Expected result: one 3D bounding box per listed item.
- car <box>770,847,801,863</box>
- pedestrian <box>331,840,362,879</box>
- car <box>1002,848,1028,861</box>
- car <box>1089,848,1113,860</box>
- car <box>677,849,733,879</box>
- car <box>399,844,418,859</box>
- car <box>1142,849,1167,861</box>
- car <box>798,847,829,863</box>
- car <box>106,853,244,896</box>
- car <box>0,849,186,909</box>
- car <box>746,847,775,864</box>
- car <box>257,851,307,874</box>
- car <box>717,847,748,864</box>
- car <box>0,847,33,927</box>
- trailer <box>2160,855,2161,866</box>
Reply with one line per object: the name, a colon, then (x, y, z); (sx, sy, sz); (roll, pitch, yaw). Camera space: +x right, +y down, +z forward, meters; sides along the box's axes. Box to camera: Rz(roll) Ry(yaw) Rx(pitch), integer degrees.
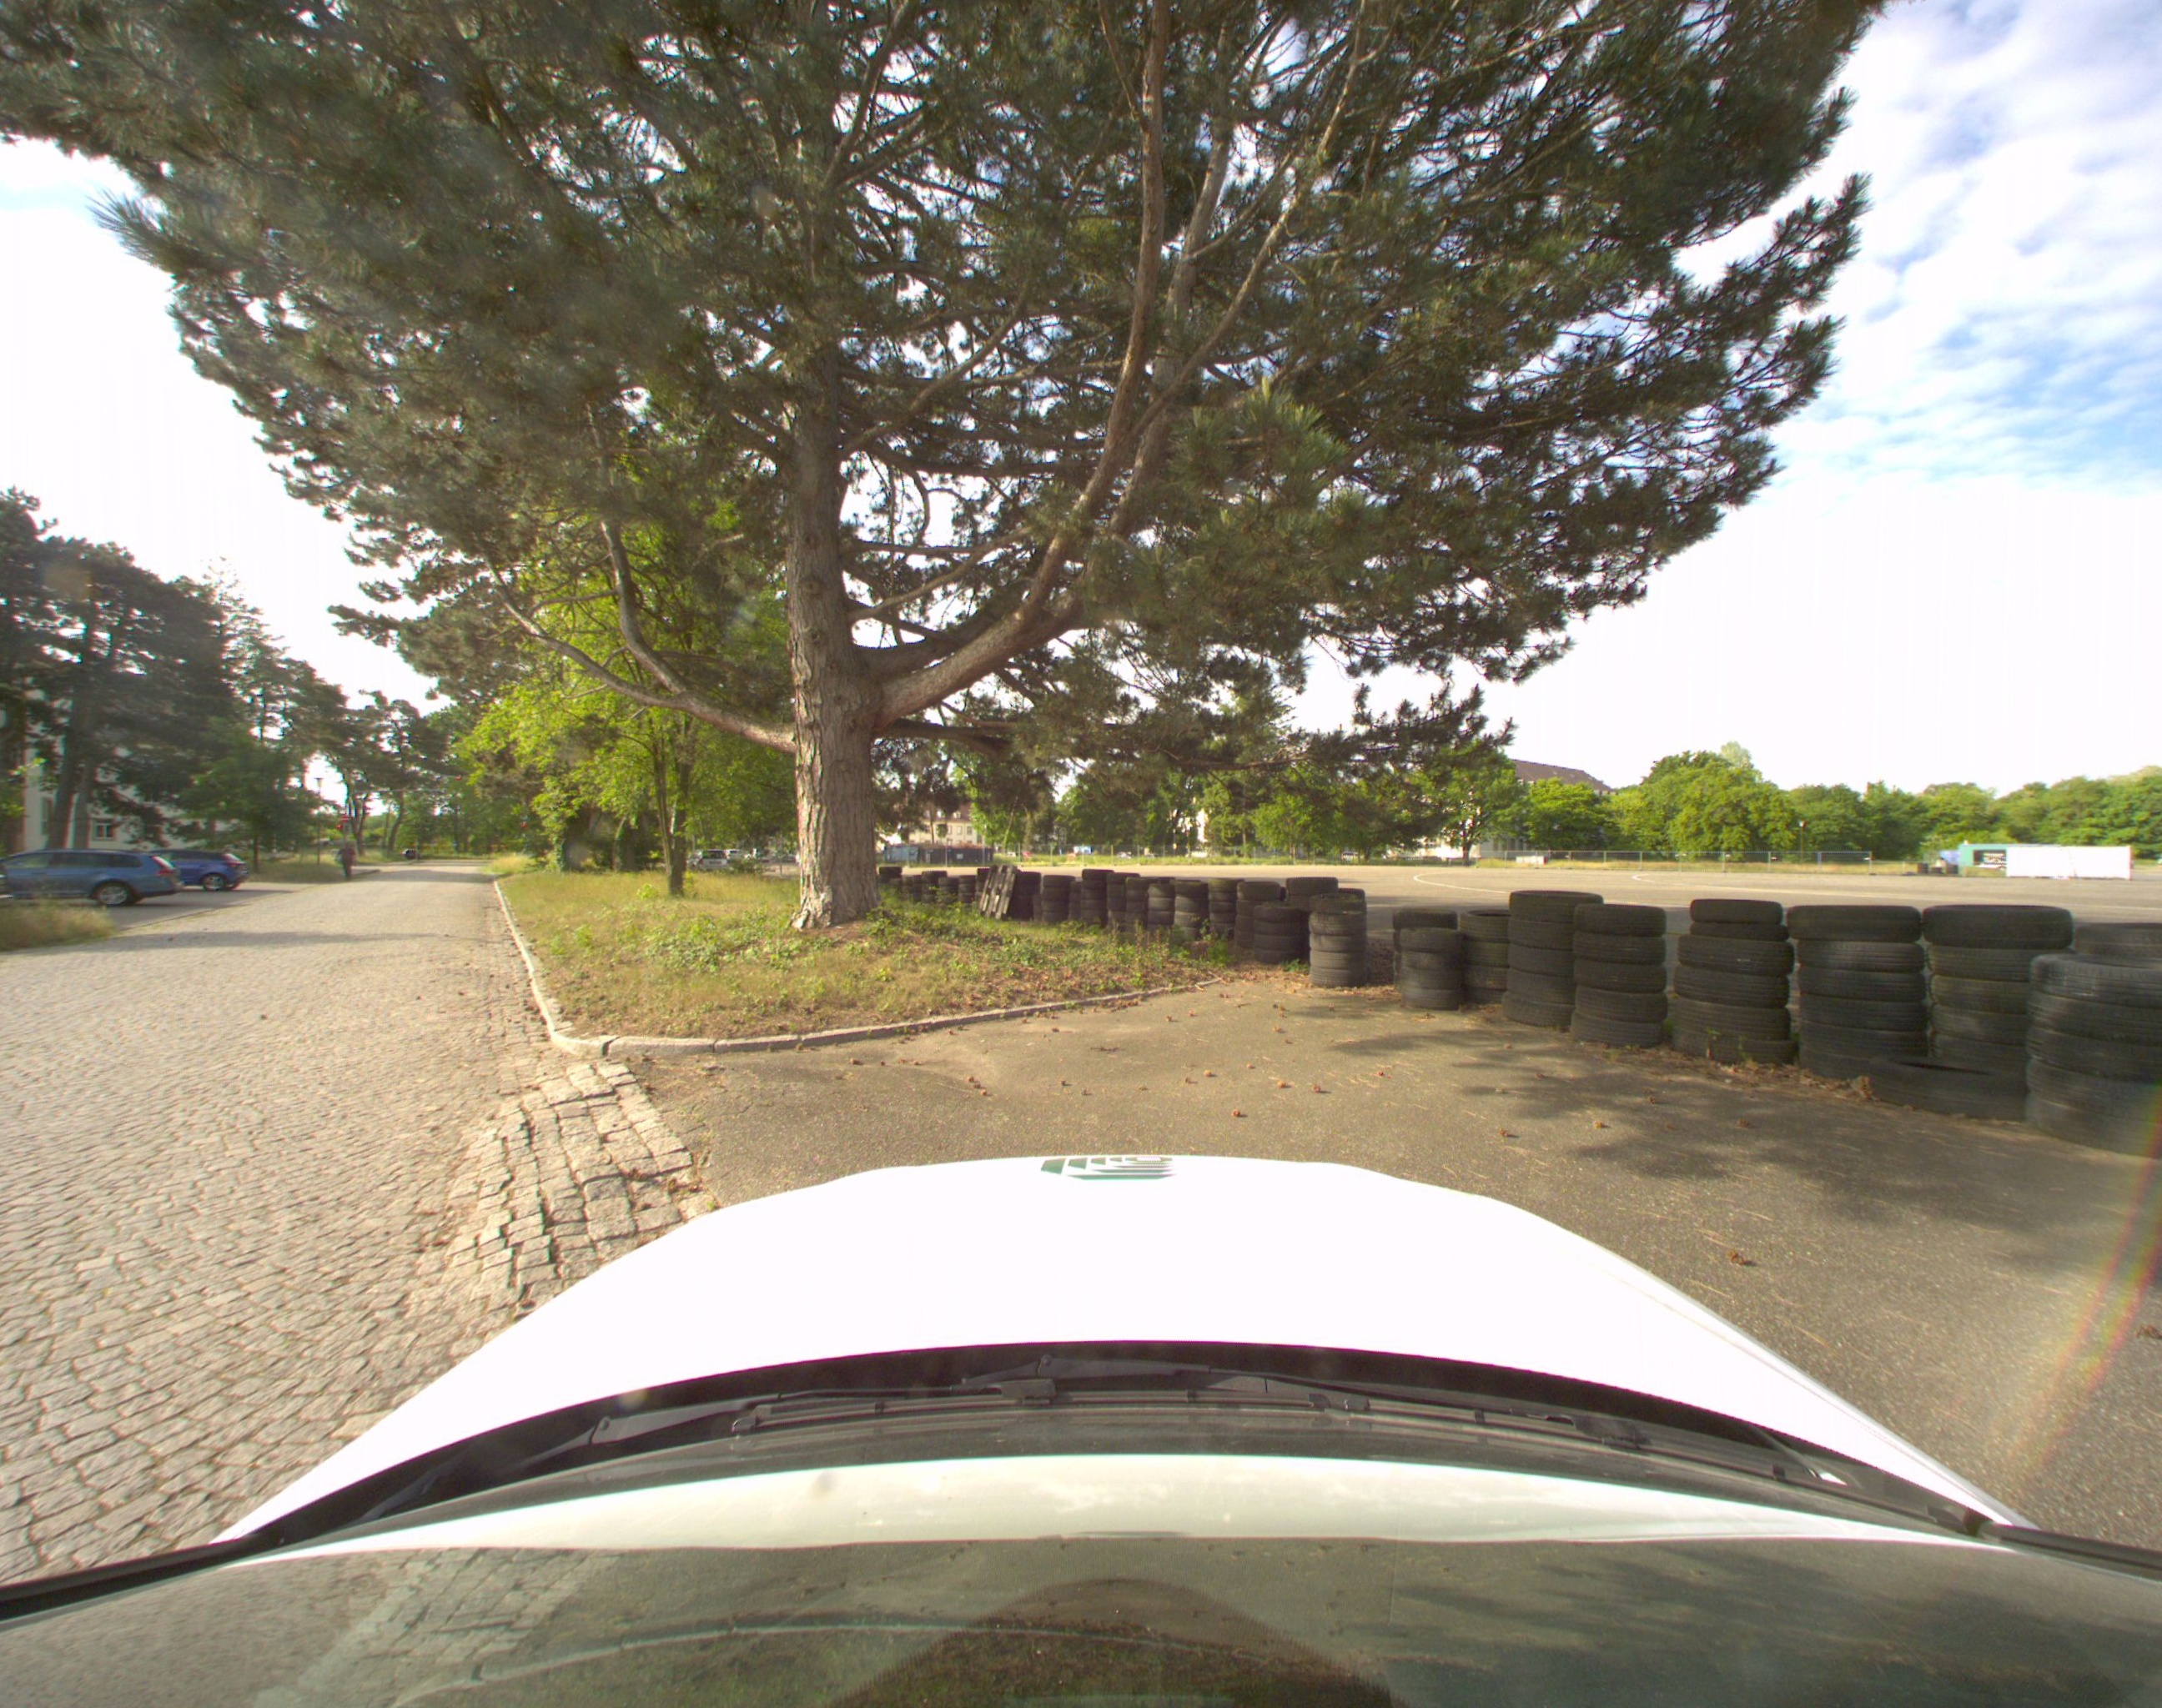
car: (-30.203, 0.088, 83.231); (2.009, 1.618, 3.956); (0, 0, -36)
pedestrian: (-35.370, 0.276, 39.208); (0.943, 1.844, 0.965); (0, 0, 39)
car: (-9.158, 0.109, 112.838); (2.007, 1.750, 3.960); (0, 0, -31)
car: (2.966, -0.006, 121.822); (2.006, 1.750, 3.963); (0, 0, -29)
car: (-20.239, 0.519, 43.742); (1.901, 1.541, 3.955); (0, 0, -38)
car: (-93.812, -0.334, 113.618); (1.711, 2.013, 3.956); (0, 0, -36)
car: (11.529, 0.166, 127.999); (2.004, 1.750, 3.965); (0, 0, -27)
car: (-28.014, 0.063, 85.246); (2.009, 1.618, 3.956); (0, 0, -36)
car: (-31.849, 0.684, 28.756); (3.111, 1.450, 1.474); (0, 0, -43)
car: (-26.107, 0.663, 21.499); (3.110, 1.457, 1.474); (3, -2, -41)
car: (-32.078, 0.157, 81.473); (1.834, 1.618, 3.958); (0, 0, -34)
car: (-56.899, 0.567, 58.060); (2.009, 1.618, 3.956); (0, 0, -36)
car: (-34.103, 0.111, 79.639); (2.009, 1.618, 3.956); (0, 0, -36)
car: (-22.264, 0.636, 15.338); (2.779, 1.549, 1.410); (0, 0, -33)
trailer: (200.567, 1.184, 149.998); (4.020, 2.013, 1.977); (0, 0, -39)
